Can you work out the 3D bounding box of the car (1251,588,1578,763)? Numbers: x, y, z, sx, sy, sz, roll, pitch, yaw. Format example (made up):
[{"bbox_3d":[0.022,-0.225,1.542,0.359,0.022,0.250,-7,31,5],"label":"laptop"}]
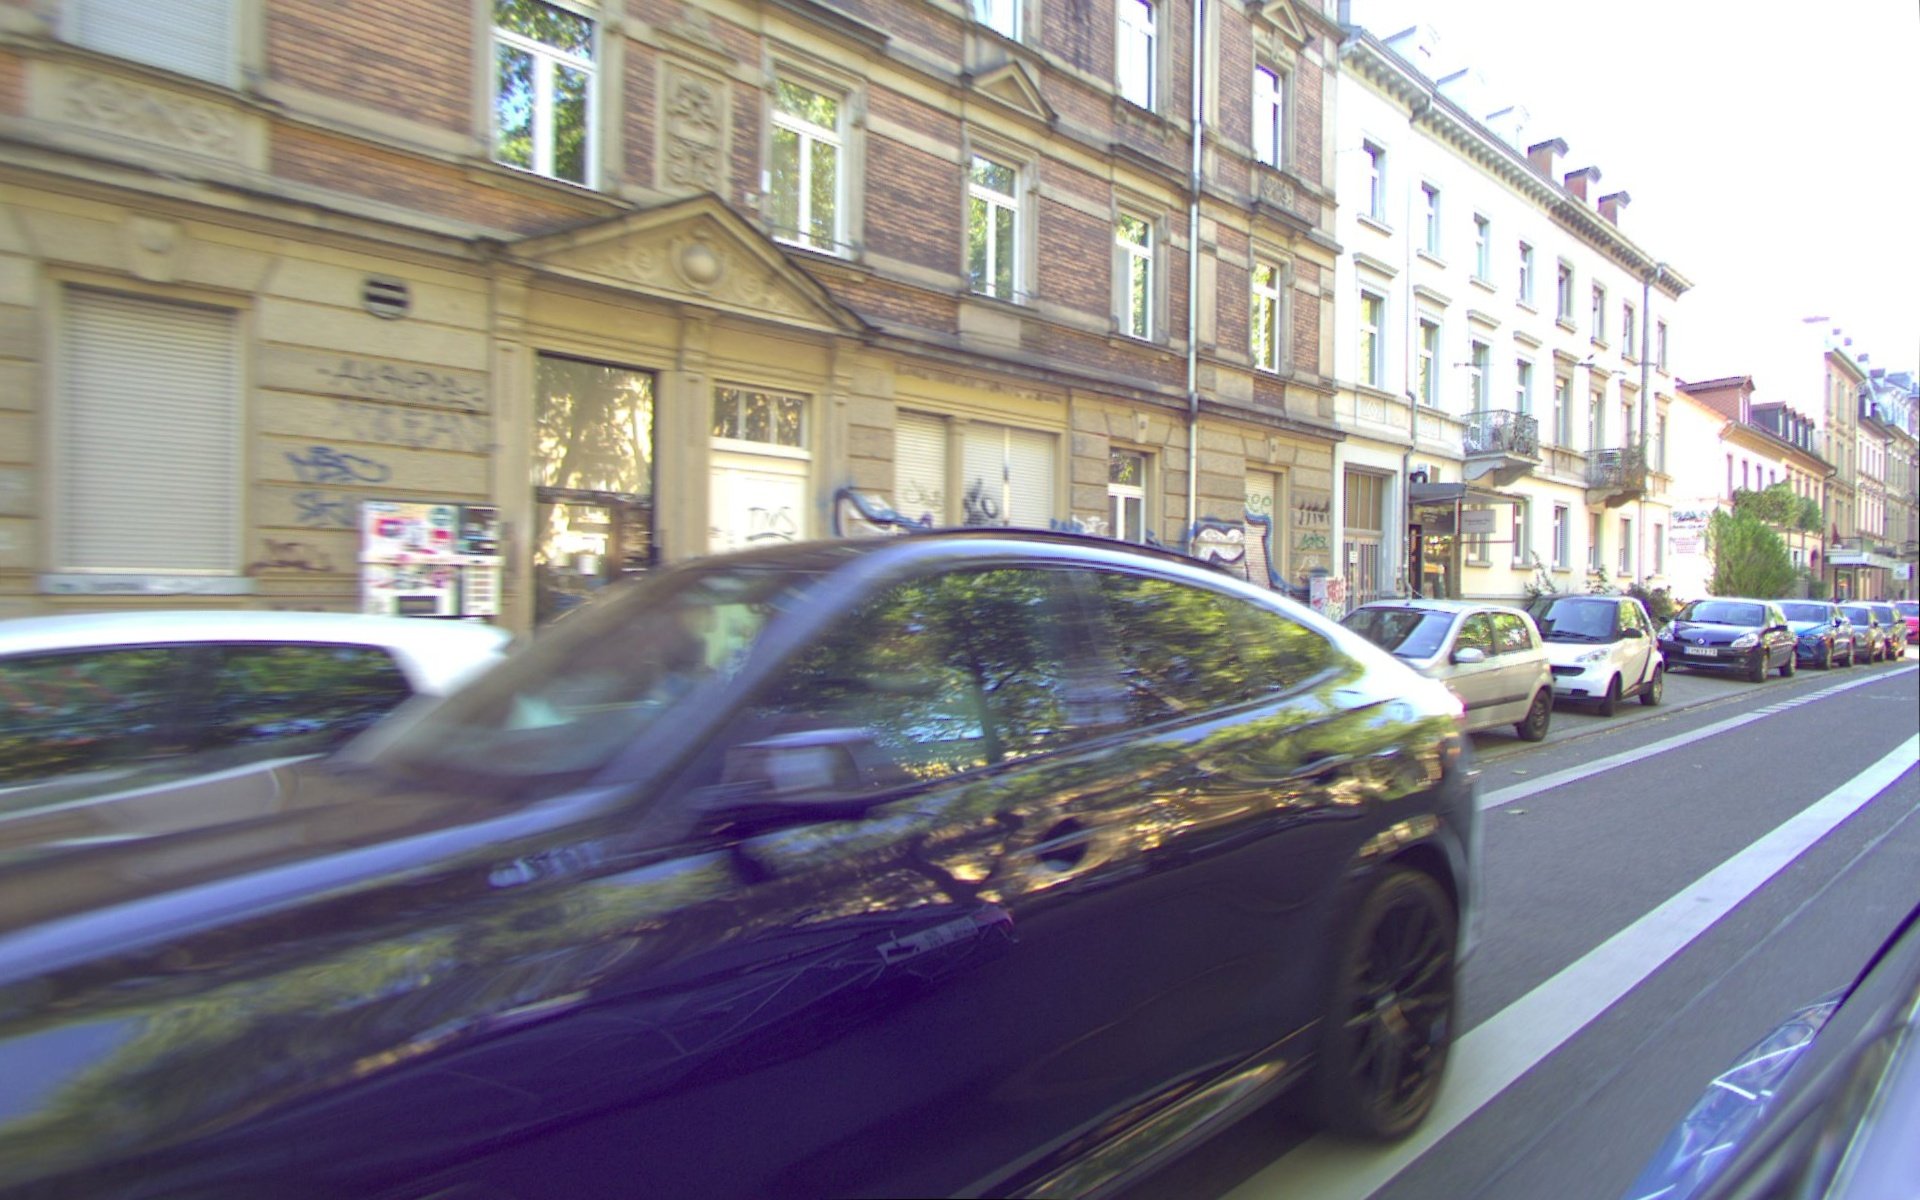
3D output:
[{"bbox_3d":[4.851,0.639,10.610,3.674,1.470,1.610,0,3,-39],"label":"car"}]

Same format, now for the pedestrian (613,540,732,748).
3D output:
[{"bbox_3d":[-2.468,0.347,8.689,0.753,1.677,0.716,0,0,-41],"label":"pedestrian"}]

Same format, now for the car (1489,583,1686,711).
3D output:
[{"bbox_3d":[8.795,0.575,14.141,2.771,1.561,1.514,0,2,-40],"label":"car"}]

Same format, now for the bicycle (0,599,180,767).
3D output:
[{"bbox_3d":[-6.604,0.584,7.462,1.347,1.168,0.379,0,0,-39],"label":"bicycle"}]

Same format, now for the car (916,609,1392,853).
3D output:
[{"bbox_3d":[1.616,0.788,7.754,3.659,1.288,1.652,-1,3,-41],"label":"car"}]

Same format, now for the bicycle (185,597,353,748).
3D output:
[{"bbox_3d":[-5.663,0.561,8.322,1.118,1.168,0.274,0,0,-39],"label":"bicycle"}]

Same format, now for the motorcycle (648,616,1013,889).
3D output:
[{"bbox_3d":[-0.786,0.767,5.806,2.121,1.305,0.636,0,0,29],"label":"motorcycle"}]

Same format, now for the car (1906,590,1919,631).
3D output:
[{"bbox_3d":[38.814,0.416,39.911,3.620,1.588,1.703,0,2,-39],"label":"car"}]

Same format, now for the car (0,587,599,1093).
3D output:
[{"bbox_3d":[-3.496,0.707,3.475,3.942,1.438,1.606,0,3,-40],"label":"car"}]

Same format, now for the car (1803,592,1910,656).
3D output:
[{"bbox_3d":[23.425,0.575,26.407,3.298,1.524,1.542,0,2,-39],"label":"car"}]

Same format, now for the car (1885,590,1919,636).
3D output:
[{"bbox_3d":[34.925,0.458,36.565,3.620,1.588,1.703,0,2,-39],"label":"car"}]

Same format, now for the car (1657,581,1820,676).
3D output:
[{"bbox_3d":[14.941,0.464,19.353,3.839,1.523,1.635,0,5,-41],"label":"car"}]

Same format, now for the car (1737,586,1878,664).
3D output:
[{"bbox_3d":[19.662,0.517,23.440,3.837,1.523,1.730,0,5,-39],"label":"car"}]

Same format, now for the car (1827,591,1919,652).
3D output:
[{"bbox_3d":[26.494,0.563,29.102,3.620,1.588,1.729,0,2,-39],"label":"car"}]

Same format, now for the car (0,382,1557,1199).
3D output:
[{"bbox_3d":[-0.383,0.636,2.681,4.547,1.726,1.948,0,1,-39],"label":"car"}]
